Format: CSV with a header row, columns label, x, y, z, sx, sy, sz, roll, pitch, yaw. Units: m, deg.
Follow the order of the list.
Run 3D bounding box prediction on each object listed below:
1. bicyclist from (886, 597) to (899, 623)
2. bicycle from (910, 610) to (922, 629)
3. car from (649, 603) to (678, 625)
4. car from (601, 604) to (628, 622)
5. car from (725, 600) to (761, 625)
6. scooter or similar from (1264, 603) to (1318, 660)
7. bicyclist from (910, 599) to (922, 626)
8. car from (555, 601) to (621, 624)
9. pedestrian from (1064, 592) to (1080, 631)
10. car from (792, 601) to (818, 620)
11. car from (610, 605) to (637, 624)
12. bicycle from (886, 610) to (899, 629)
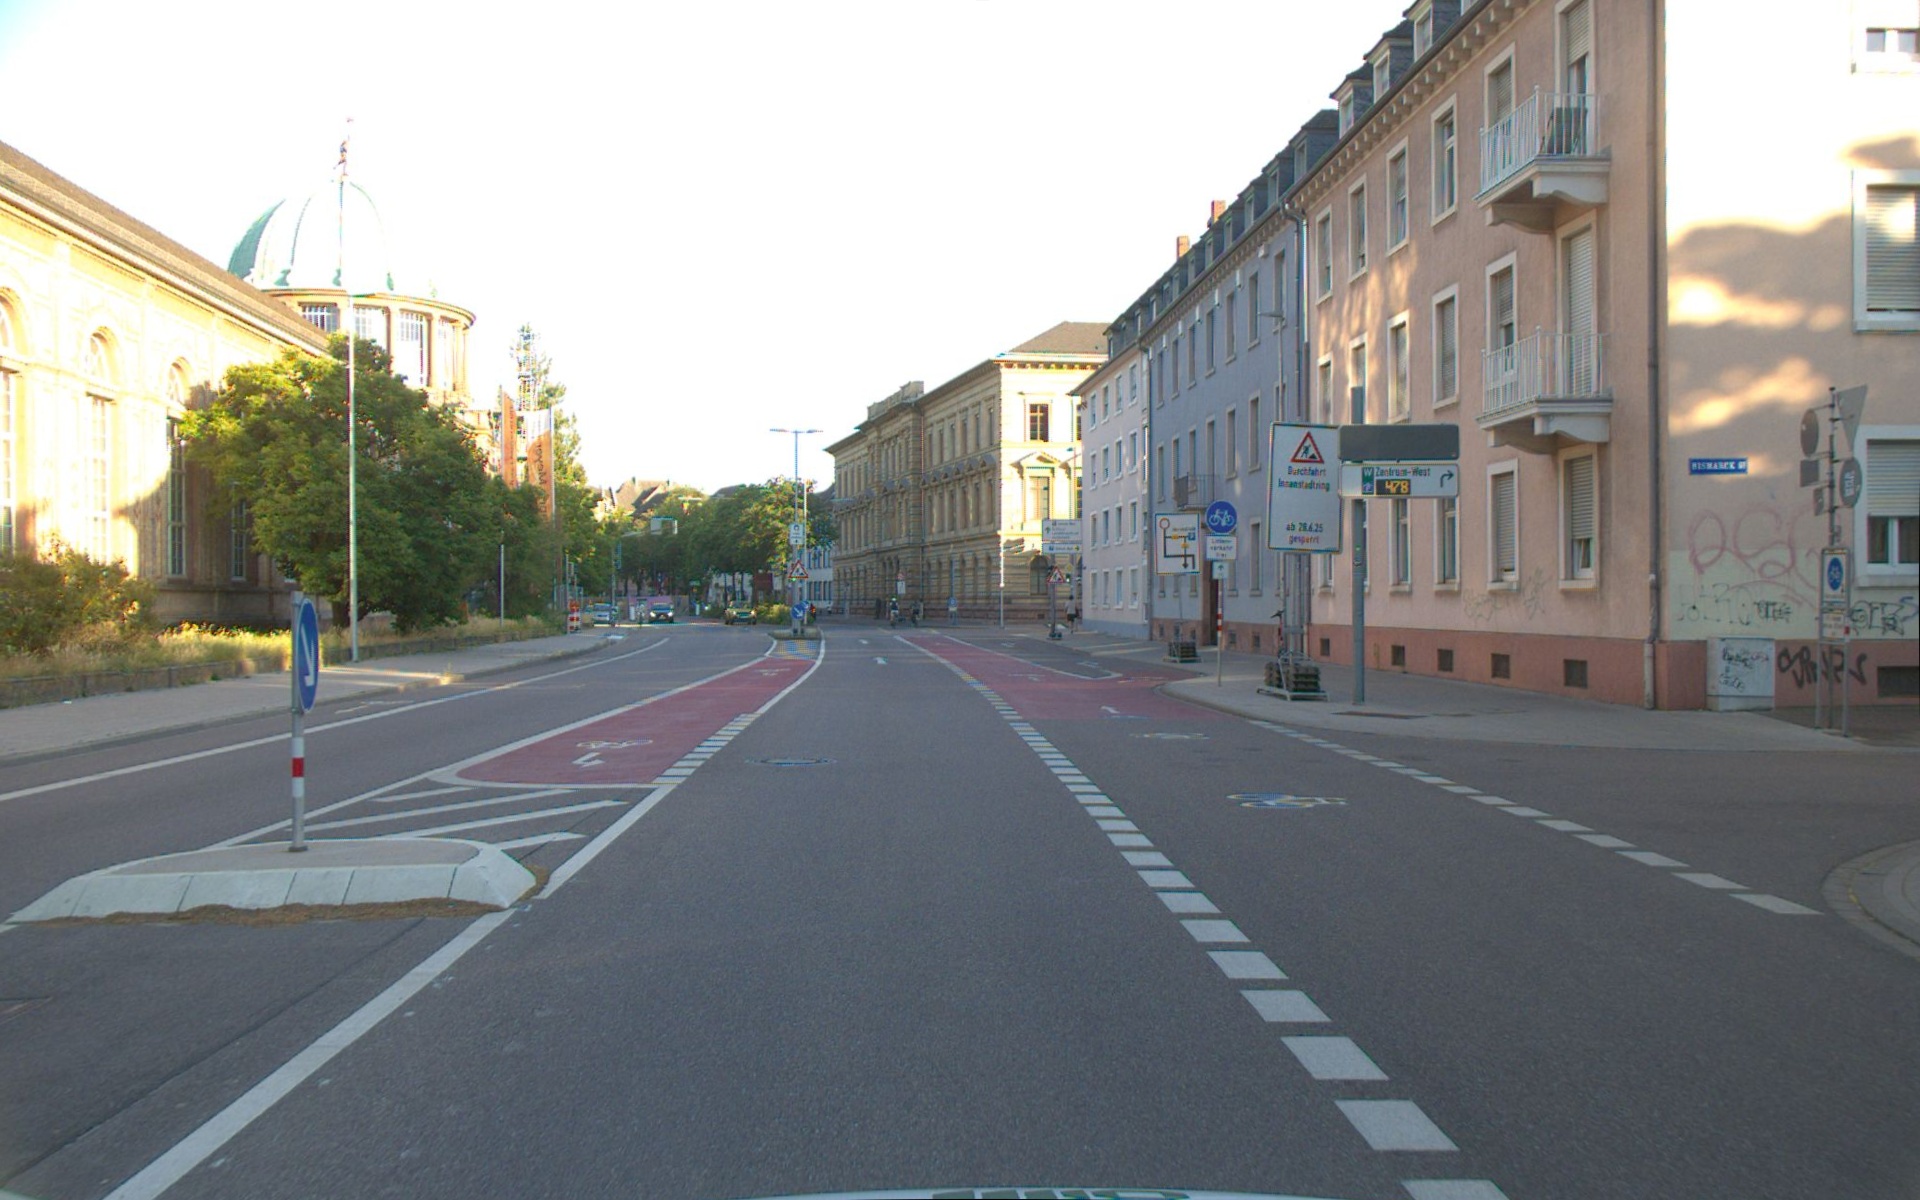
label,x,y,z,sx,sy,sz,roll,pitch,yaw
bicyclist,-3.877,0.583,95.272,0.639,1.471,0.879,2,0,-1
bicycle,-2.535,1.114,95.458,0.639,1.033,2.197,2,0,-1
car,-22.357,1.046,124.741,1.959,1.613,3.987,0,0,-13
car,-30.586,1.146,146.425,1.962,1.613,3.981,0,0,-17
car,-14.419,0.847,109.592,1.960,1.613,3.986,0,0,-14
scooter or similar,8.177,0.755,40.963,0.617,1.360,2.397,0,0,-7
bicyclist,-2.524,0.706,95.462,0.639,1.501,0.940,2,0,-1
car,-24.296,0.795,107.949,3.913,1.445,1.996,0,0,30
pedestrian,5.138,0.511,76.007,0.746,1.785,0.845,0,0,4
car,-12.727,0.823,135.663,1.833,1.536,3.992,1,0,-9
car,-28.941,1.246,142.186,1.962,1.613,3.981,0,0,-17
bicycle,-3.900,1.102,95.321,0.639,1.033,2.197,2,0,-1
